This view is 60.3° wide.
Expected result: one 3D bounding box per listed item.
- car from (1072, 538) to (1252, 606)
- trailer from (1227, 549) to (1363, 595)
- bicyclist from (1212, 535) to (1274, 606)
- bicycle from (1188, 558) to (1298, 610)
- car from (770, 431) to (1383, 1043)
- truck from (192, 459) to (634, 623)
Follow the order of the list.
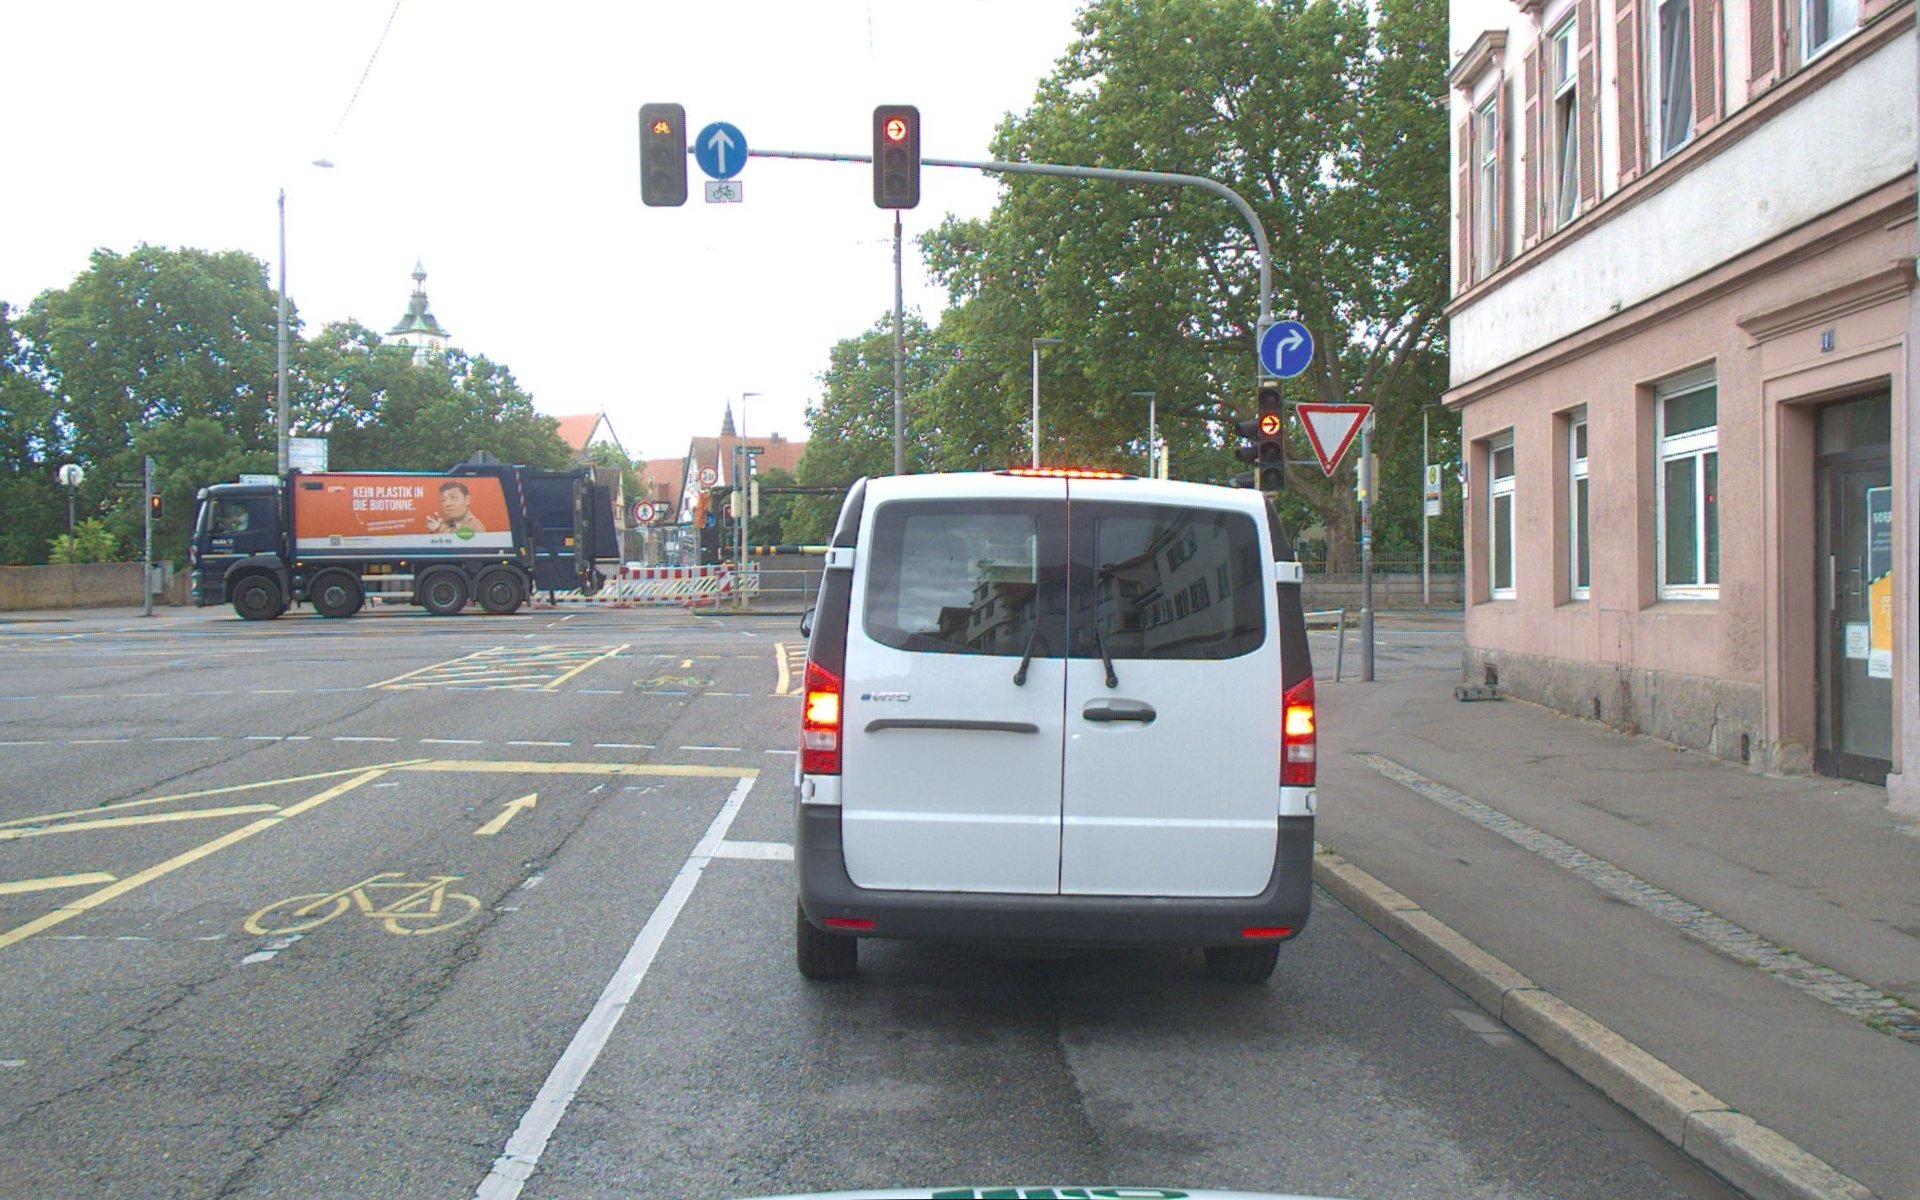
[{"bbox_3d":[5.417,-0.752,44.625,4.436,1.663,1.996,-2,0,-10],"label":"car"},{"bbox_3d":[9.140,-0.753,45.280,3.143,1.178,1.995,-1,1,-10],"label":"trailer"},{"bbox_3d":[8.845,-0.922,51.687,1.538,2.194,1.243,0,0,-15],"label":"bicyclist"},{"bbox_3d":[8.824,-0.498,51.670,3.092,1.597,1.465,0,0,-15],"label":"bicycle"},{"bbox_3d":[0.293,0.380,7.446,1.953,1.956,4.248,1,2,-2],"label":"car"},{"bbox_3d":[-13.142,-1.373,40.514,10.017,3.760,2.262,0,0,-16],"label":"truck"}]
